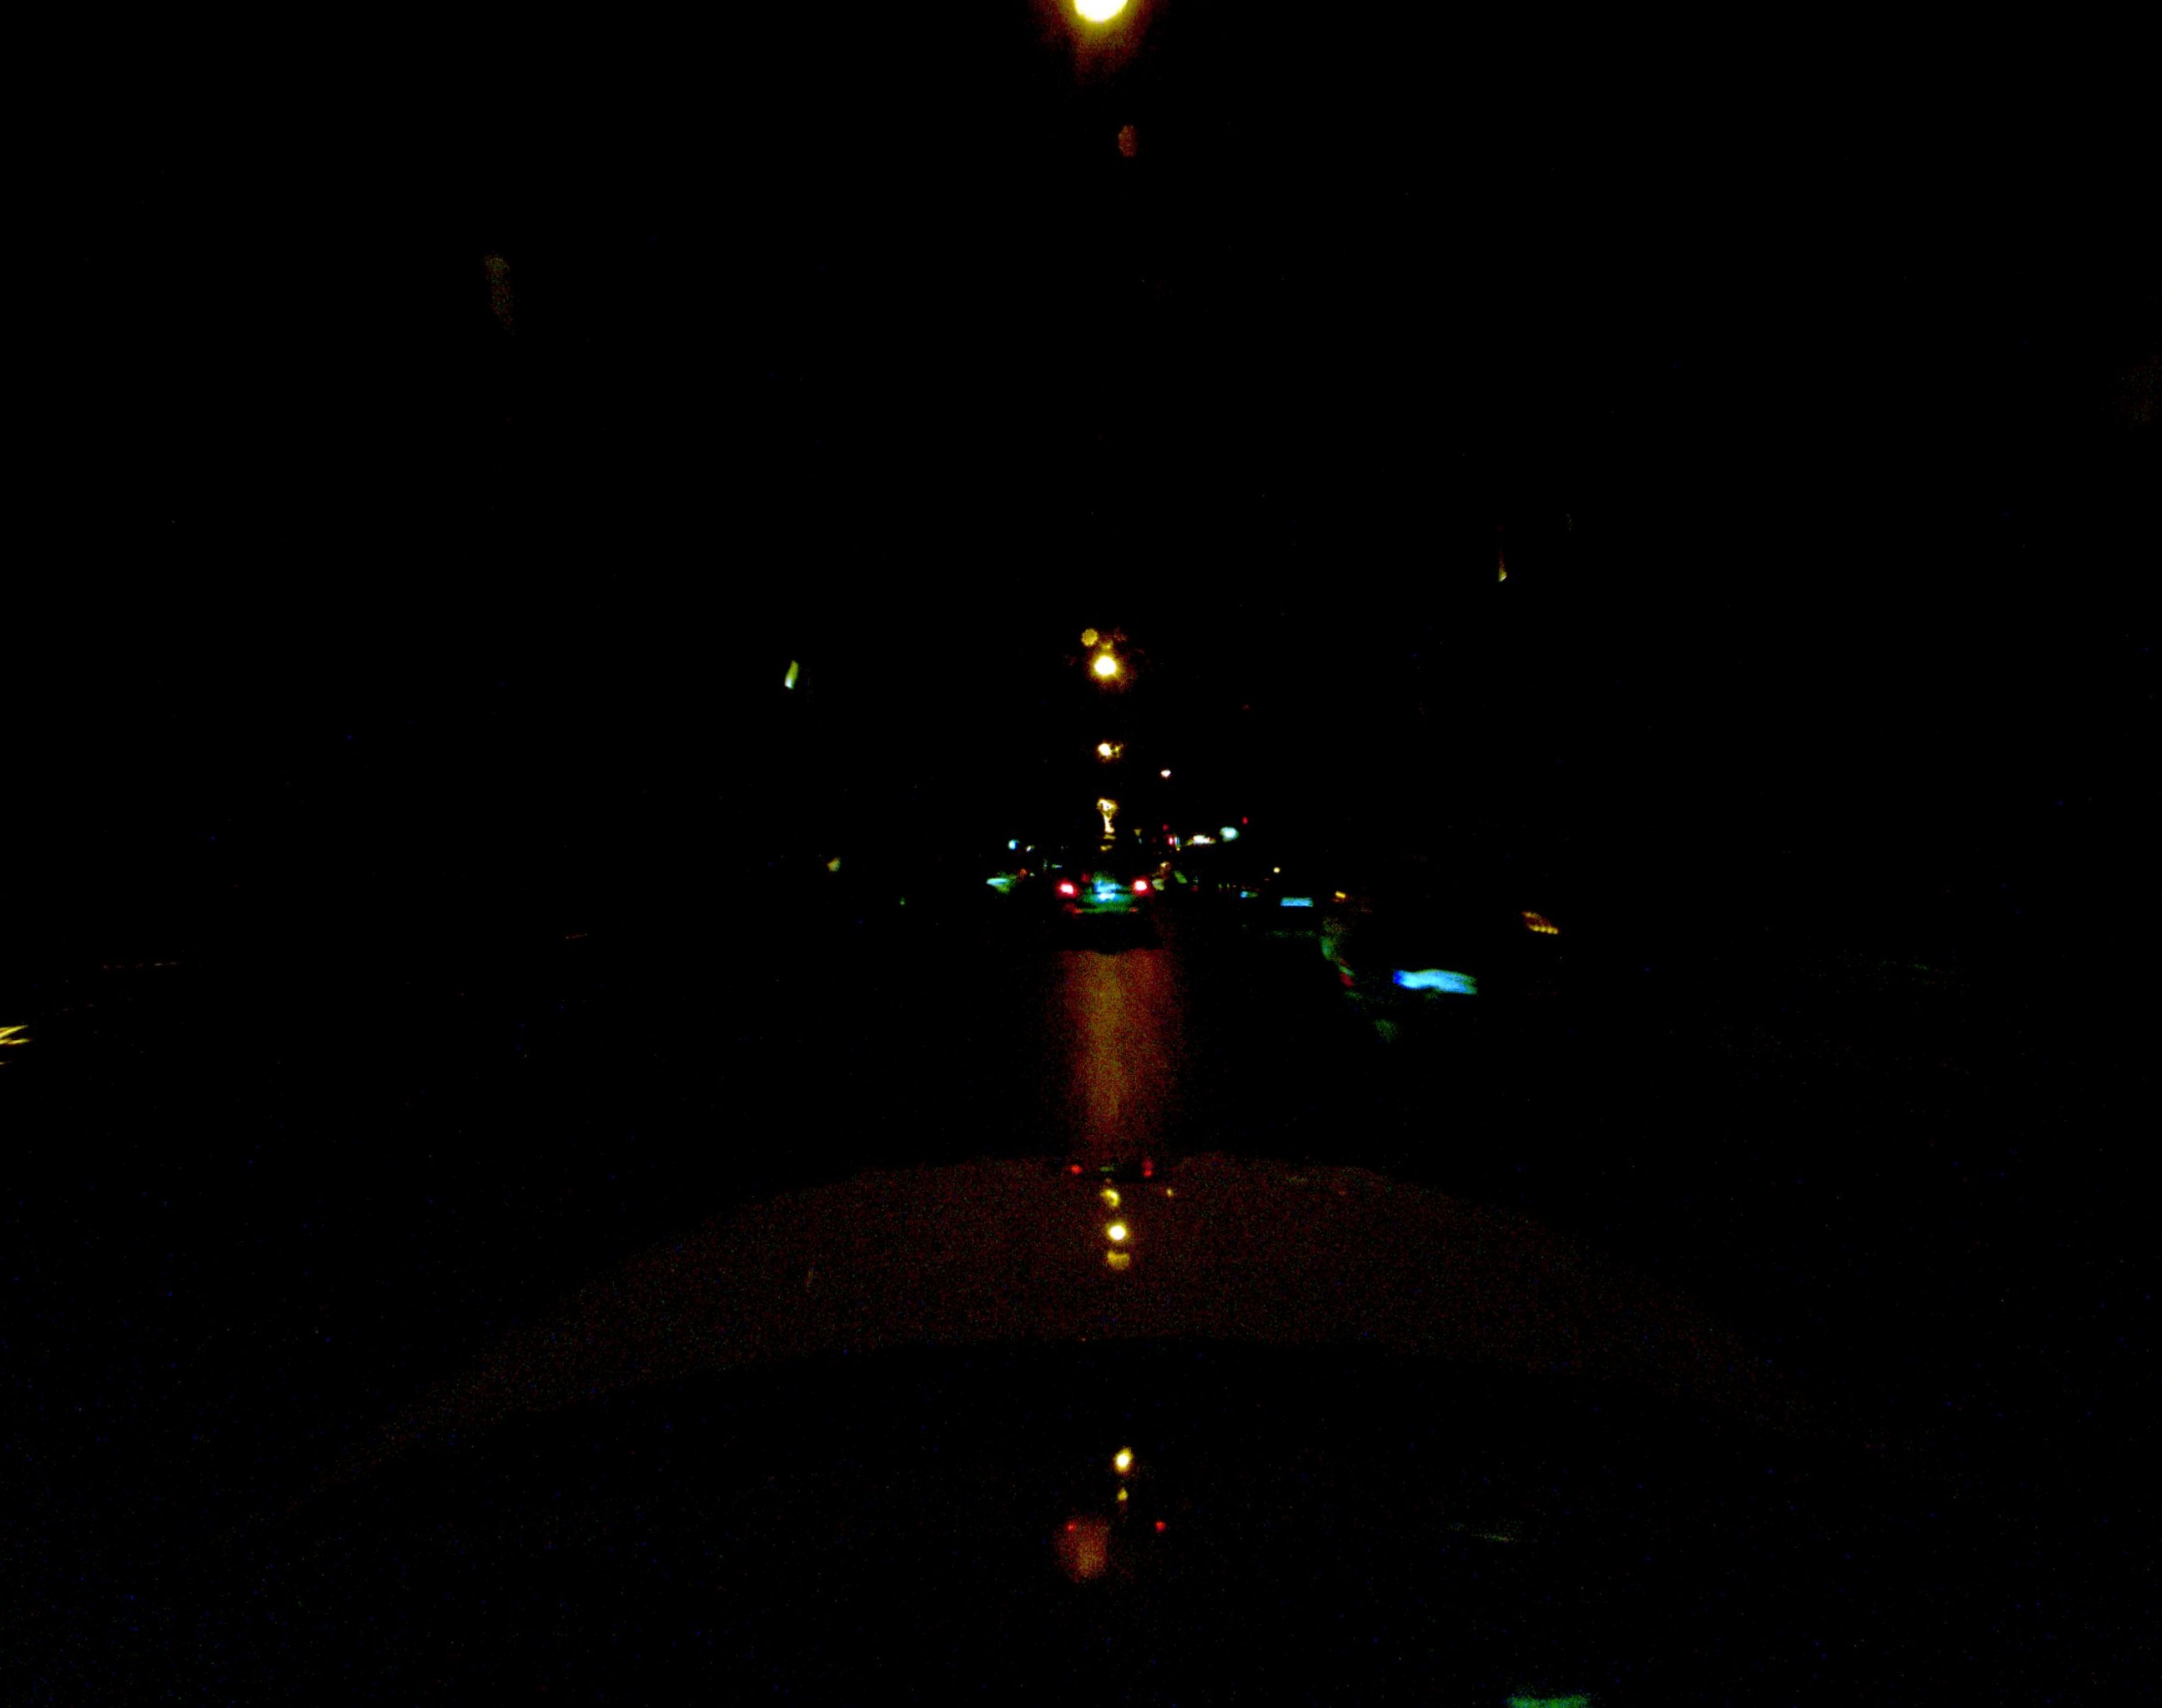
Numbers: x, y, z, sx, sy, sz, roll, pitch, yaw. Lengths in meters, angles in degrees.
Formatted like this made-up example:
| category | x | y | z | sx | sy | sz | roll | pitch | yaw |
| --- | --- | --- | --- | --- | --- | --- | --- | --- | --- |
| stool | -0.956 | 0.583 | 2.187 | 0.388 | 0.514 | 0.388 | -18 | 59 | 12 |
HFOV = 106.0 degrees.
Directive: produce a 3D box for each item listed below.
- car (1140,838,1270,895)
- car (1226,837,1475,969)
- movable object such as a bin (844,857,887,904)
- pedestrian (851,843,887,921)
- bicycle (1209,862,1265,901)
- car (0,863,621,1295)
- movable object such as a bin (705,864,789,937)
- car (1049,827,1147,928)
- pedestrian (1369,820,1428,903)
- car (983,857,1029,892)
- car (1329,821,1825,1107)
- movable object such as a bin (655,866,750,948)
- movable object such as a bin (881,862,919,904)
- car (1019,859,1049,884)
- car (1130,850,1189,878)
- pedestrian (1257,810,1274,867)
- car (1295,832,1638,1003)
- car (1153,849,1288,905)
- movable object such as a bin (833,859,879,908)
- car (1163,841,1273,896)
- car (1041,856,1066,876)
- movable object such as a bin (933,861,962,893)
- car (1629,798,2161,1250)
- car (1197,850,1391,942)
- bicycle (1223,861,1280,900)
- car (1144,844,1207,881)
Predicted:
| category | x | y | z | sx | sy | sz | roll | pitch | yaw |
| --- | --- | --- | --- | --- | --- | --- | --- | --- | --- |
| car | 4.908 | 0.456 | 32.202 | 4.813 | 2.049 | 2.047 | -2 | 0 | -29 |
| car | 3.935 | 0.588 | 11.671 | 3.671 | 1.580 | 1.574 | -1 | 0 | -38 |
| movable object such as a bin | -6.757 | 0.809 | 25.545 | 0.970 | 1.420 | 1.134 | 0 | 0 | 4 |
| pedestrian | -5.034 | 0.651 | 19.381 | 0.589 | 1.821 | 0.795 | 1 | -1 | 2 |
| bicycle | 4.518 | 0.802 | 23.725 | 0.521 | 1.076 | 1.810 | -3 | 0 | -29 |
| car | -4.577 | 0.816 | 4.349 | 1.680 | 1.455 | 4.317 | 0 | 0 | 2 |
| movable object such as a bin | -6.849 | 0.922 | 16.766 | 1.136 | 1.420 | 1.250 | 0 | 0 | 4 |
| car | 0.424 | 0.516 | 18.848 | 1.986 | 2.050 | 4.002 | -1 | -1 | 2 |
| pedestrian | 7.445 | 0.169 | 19.137 | 0.866 | 1.856 | 0.993 | -4 | 0 | -1 |
| car | -3.393 | 0.908 | 37.425 | 1.580 | 1.482 | 3.796 | -1 | 0 | 3 |
| car | 3.766 | 0.580 | 6.040 | 3.697 | 1.460 | 1.588 | -3 | -1 | -32 |
| movable object such as a bin | -6.943 | 0.945 | 15.001 | 1.136 | 1.420 | 1.155 | 0 | 0 | 4 |
| movable object such as a bin | -6.133 | 0.969 | 27.678 | 0.970 | 1.398 | 1.134 | 0 | 0 | 4 |
| car | -3.030 | 1.102 | 52.915 | 1.808 | 1.557 | 4.074 | -1 | 0 | -2 |
| car | 5.092 | 0.596 | 52.544 | 3.581 | 1.590 | 1.589 | -3 | 3 | -35 |
| pedestrian | 11.643 | -0.962 | 51.379 | 0.888 | 3.528 | 0.791 | -1 | -1 | 2 |
| car | 4.387 | 0.589 | 9.221 | 3.661 | 1.580 | 1.579 | -1 | 0 | -27 |
| car | 4.532 | 0.736 | 26.448 | 4.007 | 1.492 | 1.720 | -3 | -1 | -25 |
| movable object such as a bin | -6.675 | 0.864 | 24.259 | 0.970 | 1.420 | 1.134 | 0 | 0 | 4 |
| car | 4.960 | 0.506 | 29.476 | 3.574 | 1.711 | 1.631 | -3 | -1 | -27 |
| car | -2.434 | 1.055 | 72.221 | 1.876 | 1.685 | 4.002 | -1 | 0 | 2 |
| movable object such as a bin | -6.055 | 1.021 | 36.906 | 1.043 | 1.398 | 1.159 | 0 | 0 | 4 |
| car | 4.919 | 0.515 | 4.437 | 4.015 | 1.452 | 1.671 | -4 | 0 | -32 |
| car | 4.129 | 0.720 | 15.646 | 3.667 | 1.580 | 1.576 | 0 | 0 | -34 |
| bicycle | 5.003 | 0.771 | 24.008 | 0.521 | 1.076 | 1.810 | -3 | 0 | -29 |
| car | 5.749 | 0.520 | 49.433 | 3.581 | 1.990 | 1.588 | -3 | -1 | -35 |
